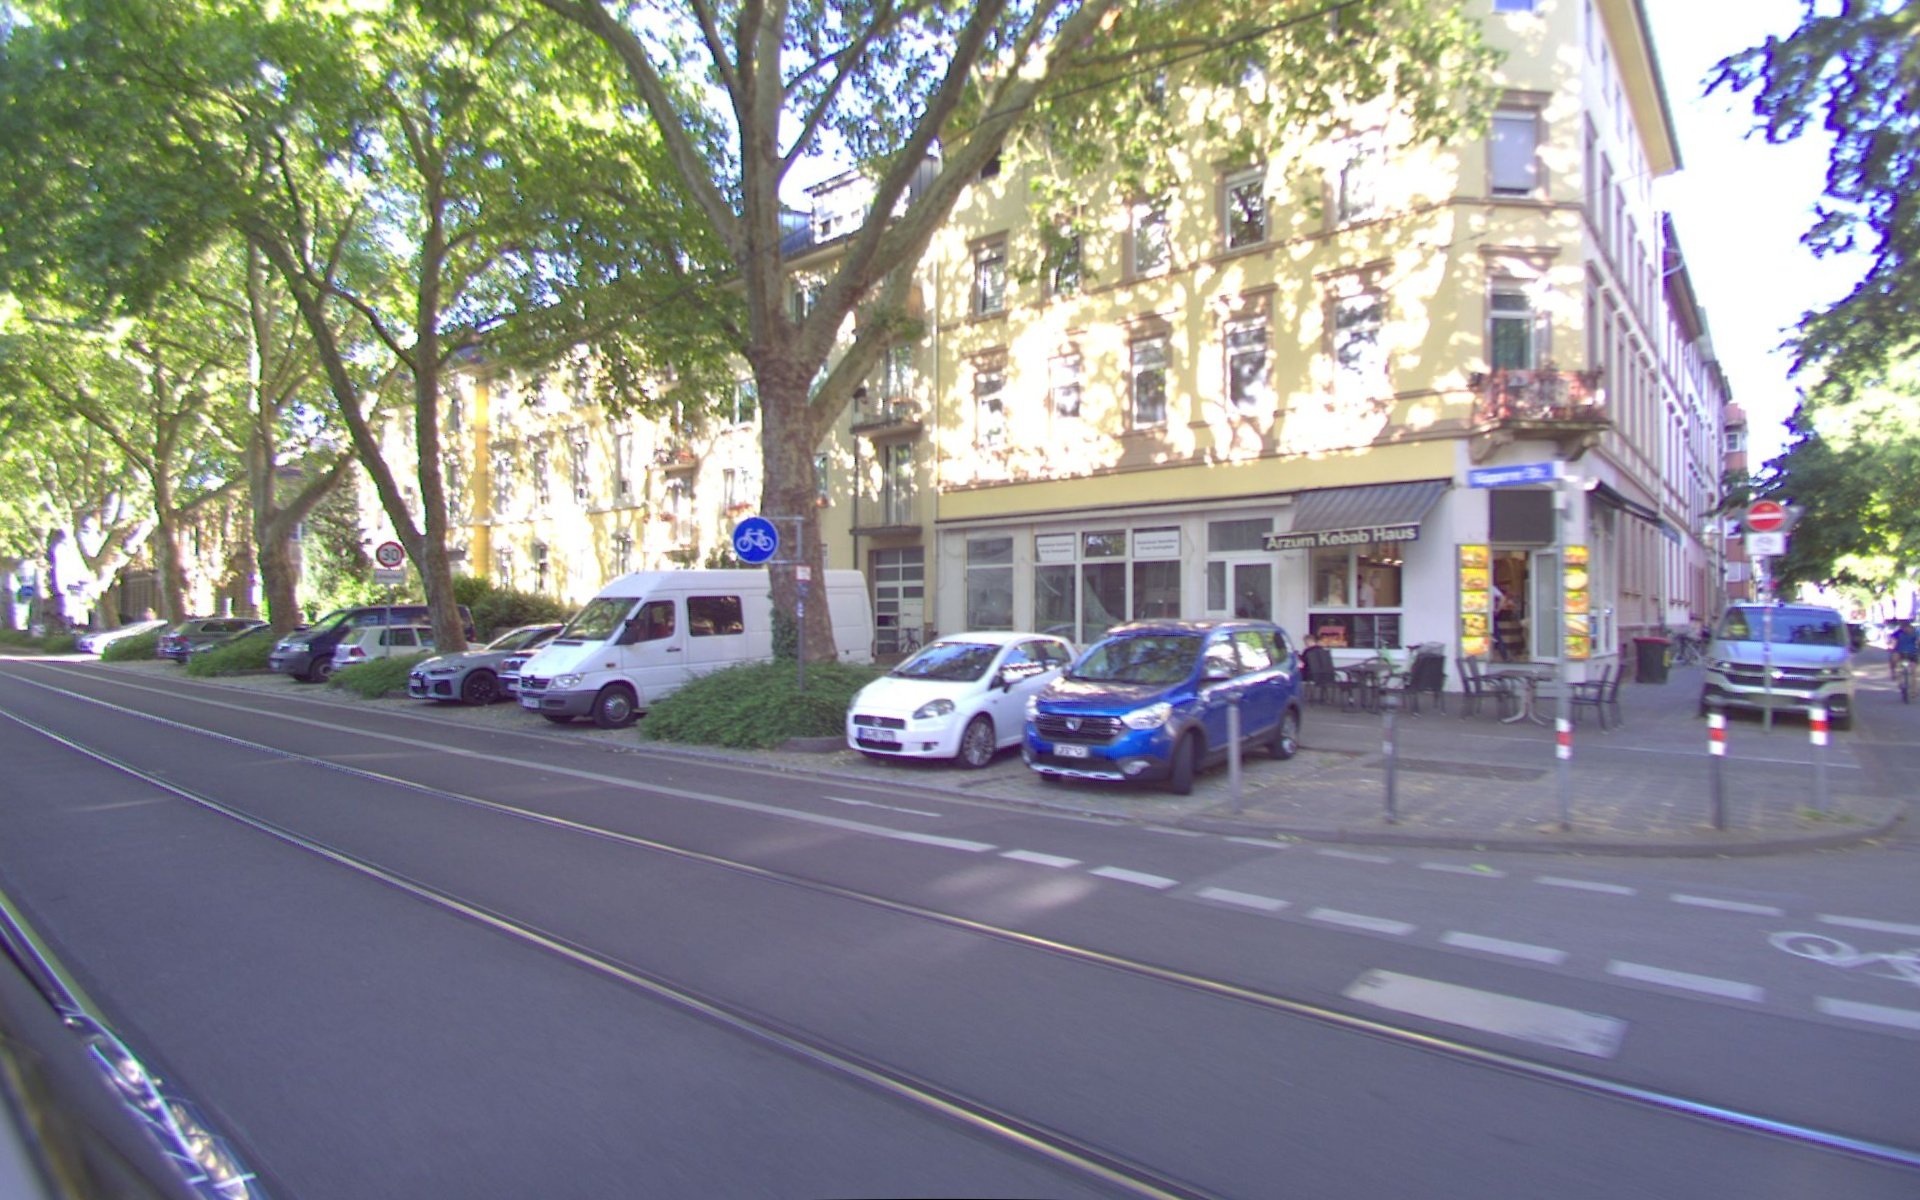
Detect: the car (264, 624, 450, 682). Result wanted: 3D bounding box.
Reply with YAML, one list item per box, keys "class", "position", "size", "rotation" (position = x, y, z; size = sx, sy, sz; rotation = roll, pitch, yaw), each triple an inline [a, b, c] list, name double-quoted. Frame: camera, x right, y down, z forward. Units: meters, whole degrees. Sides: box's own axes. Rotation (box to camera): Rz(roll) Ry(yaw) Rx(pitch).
- class: "car"
  position: [-17.274, 1.479, 29.155]
  size: [1.656, 1.418, 4.310]
  rotation: [-2, -1, 40]

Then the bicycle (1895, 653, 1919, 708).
- class: "bicycle"
  position: [19.397, 1.601, 20.382]
  size: [0.627, 1.039, 1.853]
  rotation: [-2, -2, 37]

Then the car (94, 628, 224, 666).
- class: "car"
  position: [-32.989, 1.908, 41.758]
  size: [1.525, 1.442, 3.950]
  rotation: [-1, -1, 37]

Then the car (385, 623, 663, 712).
- class: "car"
  position: [-8.788, 1.283, 20.786]
  size: [1.999, 1.456, 4.881]
  rotation: [-2, -1, 40]

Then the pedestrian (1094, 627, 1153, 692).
- class: "pedestrian"
  position: [3.220, 1.152, 19.936]
  size: [0.930, 1.250, 0.699]
  rotation: [-1, -2, 42]

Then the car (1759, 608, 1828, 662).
- class: "car"
  position: [29.302, 1.217, 35.551]
  size: [1.756, 1.802, 3.352]
  rotation: [-1, -2, 41]

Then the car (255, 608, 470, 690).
- class: "car"
  position: [-15.918, 1.244, 27.159]
  size: [1.920, 1.922, 4.582]
  rotation: [-2, -1, 39]

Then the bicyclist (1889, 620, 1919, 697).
- class: "bicyclist"
  position: [19.575, 1.181, 20.687]
  size: [0.735, 1.538, 0.858]
  rotation: [-2, -2, 37]

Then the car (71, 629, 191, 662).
- class: "car"
  position: [-37.216, 2.020, 45.503]
  size: [1.409, 1.385, 3.950]
  rotation: [-1, -1, 37]

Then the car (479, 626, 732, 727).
- class: "car"
  position: [-6.513, 1.324, 18.945]
  size: [1.902, 1.509, 4.105]
  rotation: [-1, 0, 38]

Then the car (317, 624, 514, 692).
- class: "car"
  position: [-13.760, 1.413, 25.735]
  size: [1.868, 1.456, 4.017]
  rotation: [-2, -1, 40]

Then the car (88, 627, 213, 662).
- class: "car"
  position: [-34.866, 1.888, 43.686]
  size: [1.598, 1.442, 3.950]
  rotation: [-1, -1, 37]

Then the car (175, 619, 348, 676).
- class: "car"
  position: [-22.909, 1.500, 33.327]
  size: [1.999, 1.625, 4.310]
  rotation: [-2, -1, 40]

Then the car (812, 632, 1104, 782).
- class: "car"
  position: [0.115, 1.173, 12.549]
  size: [1.745, 1.529, 3.734]
  rotation: [-1, -2, 37]

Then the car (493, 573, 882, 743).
- class: "car"
  position: [-4.379, 0.807, 17.596]
  size: [1.999, 2.426, 6.535]
  rotation: [-2, -1, 40]

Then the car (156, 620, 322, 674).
- class: "car"
  position: [-24.763, 1.565, 34.859]
  size: [1.999, 1.625, 4.310]
  rotation: [-2, -1, 40]

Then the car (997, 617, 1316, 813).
- class: "car"
  position: [2.360, 1.070, 11.206]
  size: [1.813, 1.725, 4.280]
  rotation: [-1, -2, 36]

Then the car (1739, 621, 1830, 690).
- class: "car"
  position: [21.903, 1.414, 26.857]
  size: [1.756, 1.706, 3.132]
  rotation: [-1, -2, 41]

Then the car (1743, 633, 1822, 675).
- class: "car"
  position: [25.297, 1.616, 31.093]
  size: [1.756, 1.186, 3.352]
  rotation: [-1, -2, 41]

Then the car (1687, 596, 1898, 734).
- class: "car"
  position: [13.750, 0.960, 16.615]
  size: [4.518, 1.894, 2.131]
  rotation: [2, 0, -44]

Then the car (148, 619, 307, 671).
- class: "car"
  position: [-26.426, 1.578, 36.639]
  size: [1.999, 1.625, 4.310]
  rotation: [-2, -1, 40]

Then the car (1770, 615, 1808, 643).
- class: "car"
  position: [52.193, 1.825, 63.771]
  size: [1.753, 1.712, 3.355]
  rotation: [-1, -2, 38]
